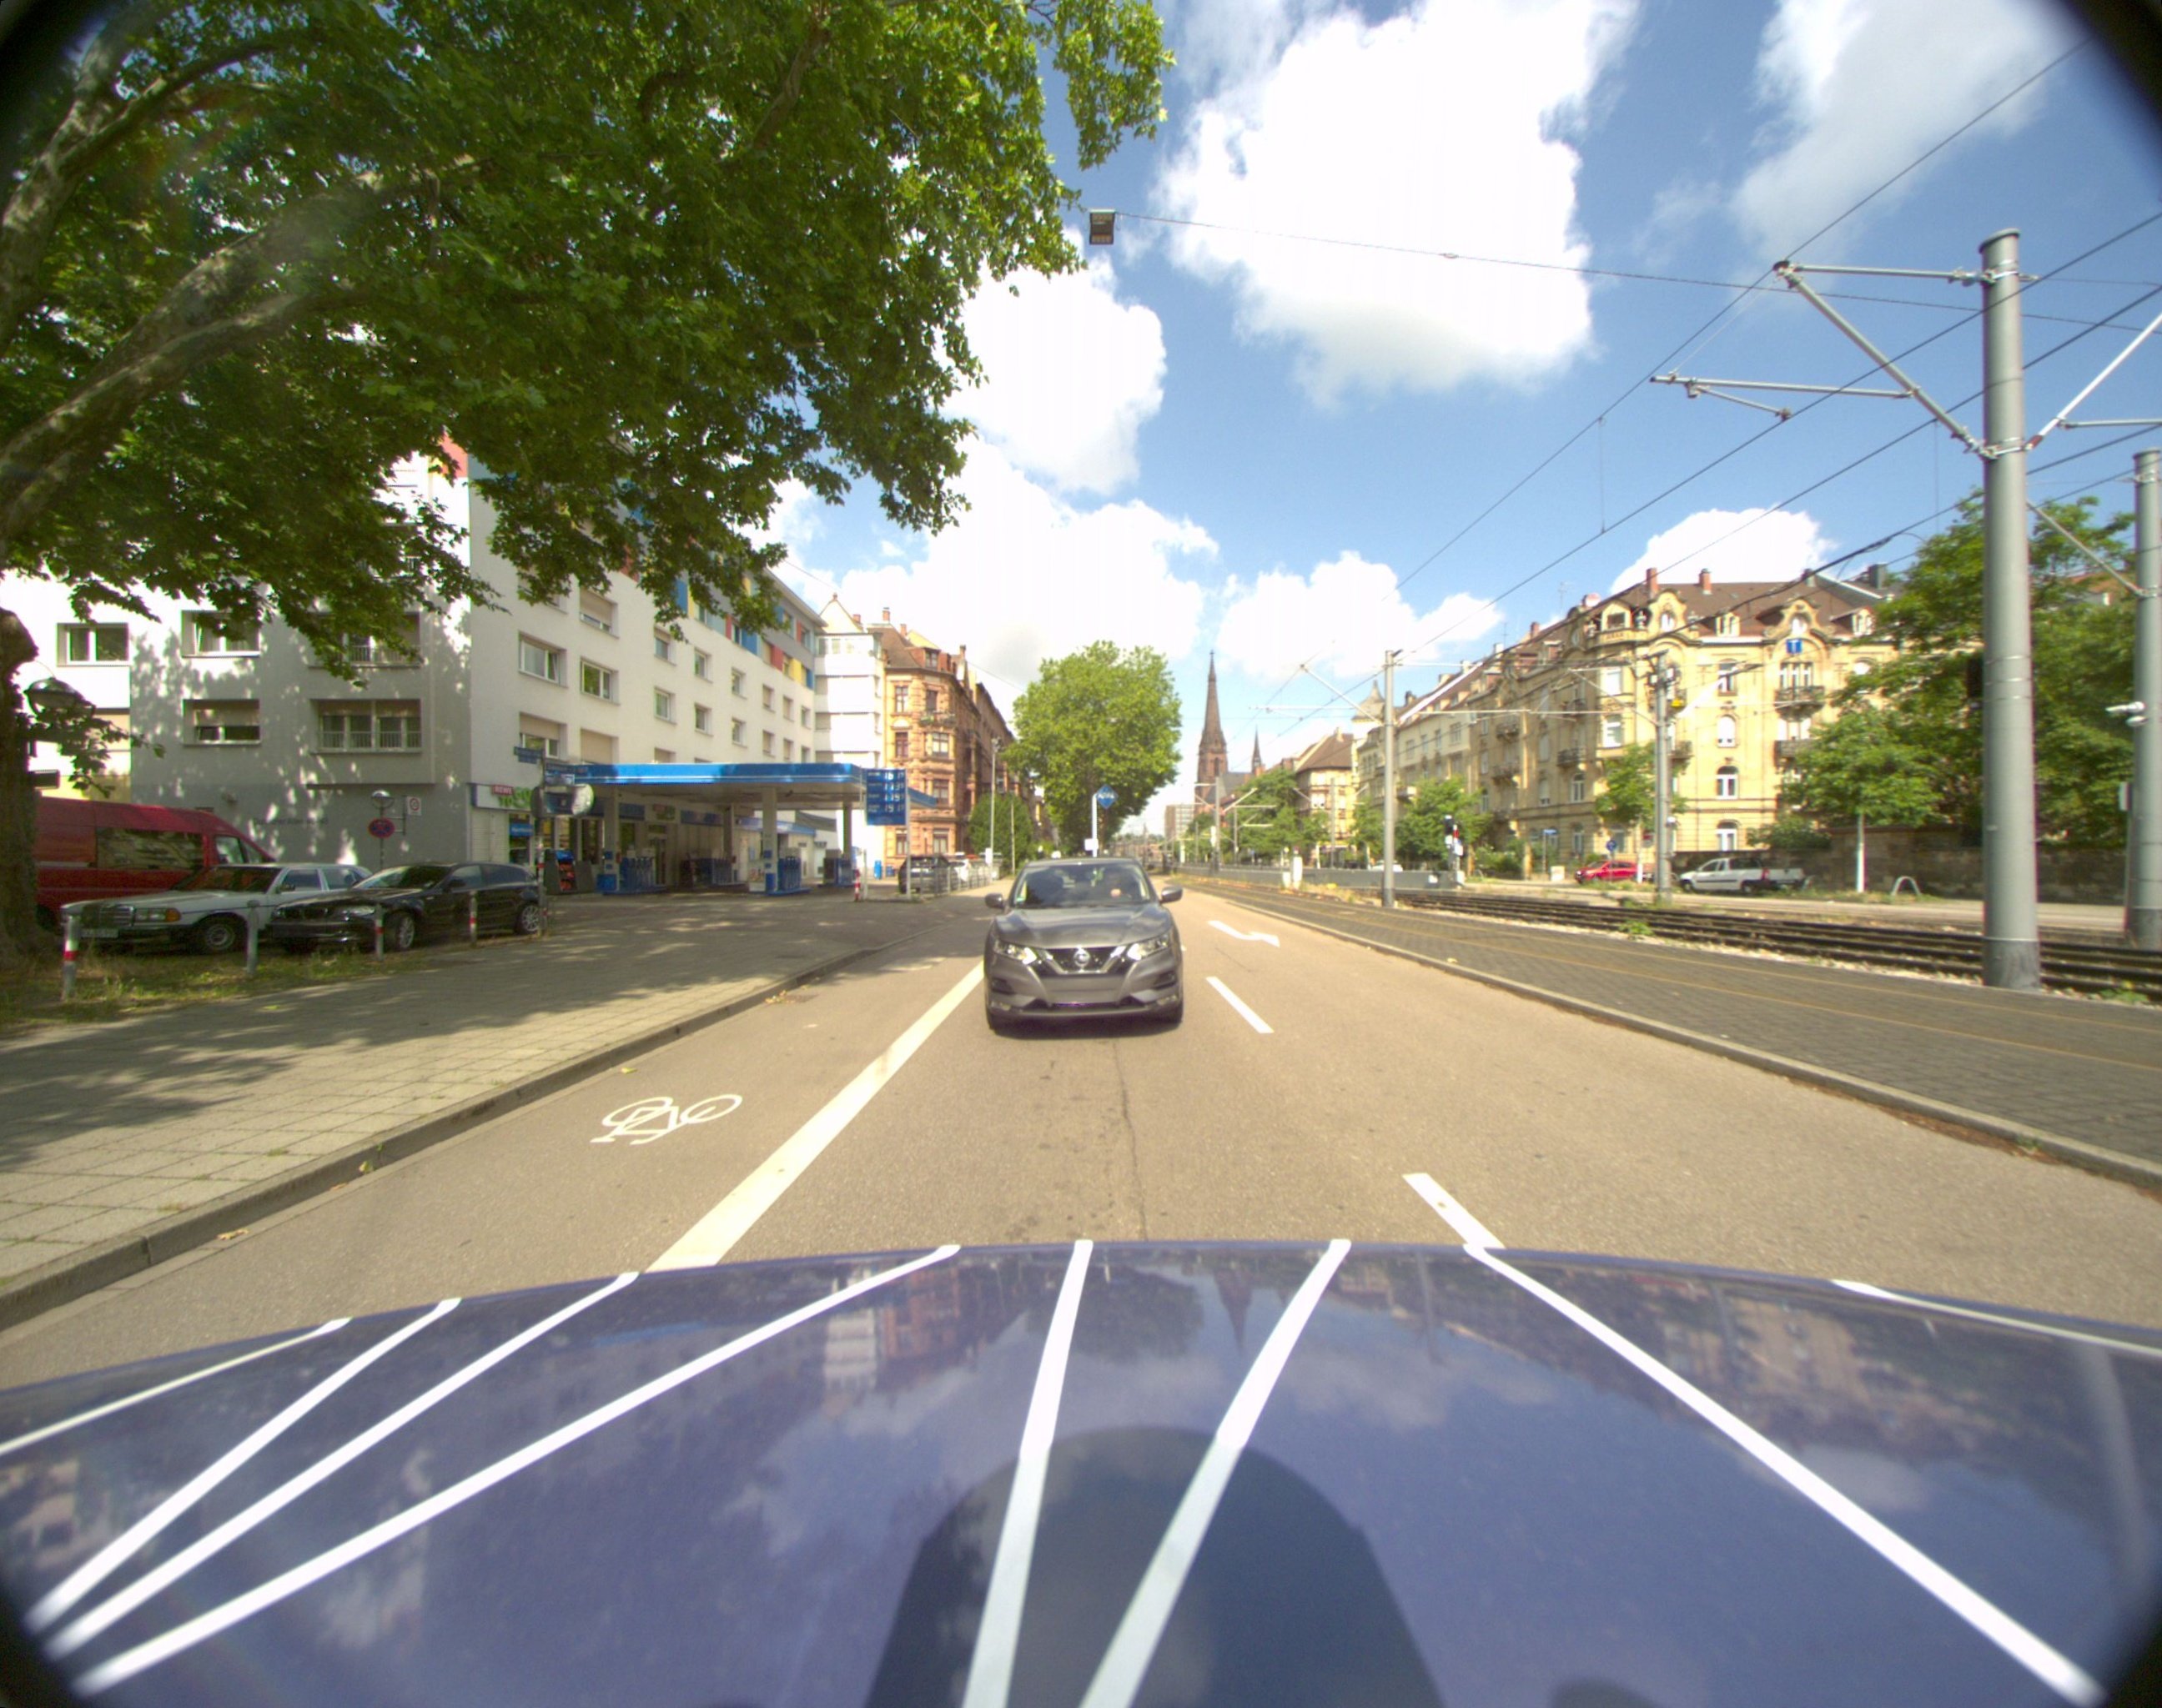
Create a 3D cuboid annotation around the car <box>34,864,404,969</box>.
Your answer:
[{"bbox_3d":[-13.847,0.898,12.650,1.653,1.421,4.042,0,0,-3],"label":"car"}]

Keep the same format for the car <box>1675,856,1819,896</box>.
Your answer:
[{"bbox_3d":[26.893,0.853,30.916,1.936,1.495,4.414,0,0,-1],"label":"car"}]

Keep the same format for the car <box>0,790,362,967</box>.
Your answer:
[{"bbox_3d":[-16.679,0.372,13.388,2.116,2.567,6.020,0,0,2],"label":"car"}]

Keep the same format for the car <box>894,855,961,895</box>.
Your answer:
[{"bbox_3d":[-6.517,0.860,32.735,1.810,1.593,4.583,-1,0,2],"label":"car"}]

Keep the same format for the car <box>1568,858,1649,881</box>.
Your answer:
[{"bbox_3d":[33.797,0.962,48.749,3.788,1.455,1.933,0,0,4],"label":"car"}]

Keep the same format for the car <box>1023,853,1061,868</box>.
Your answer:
[{"bbox_3d":[-5.049,0.775,97.516,4.735,1.772,2.004,-2,0,-7],"label":"car"}]

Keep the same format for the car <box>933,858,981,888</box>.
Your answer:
[{"bbox_3d":[-6.441,0.962,39.822,1.810,1.447,4.001,-1,0,0],"label":"car"}]

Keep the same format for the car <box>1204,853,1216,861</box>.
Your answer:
[{"bbox_3d":[26.738,0.541,157.635,1.998,1.628,4.114,0,0,0],"label":"car"}]

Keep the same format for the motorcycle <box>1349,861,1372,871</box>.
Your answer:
[{"bbox_3d":[27.089,1.182,73.668,1.765,0.936,1.418,1,0,-1],"label":"motorcycle"}]

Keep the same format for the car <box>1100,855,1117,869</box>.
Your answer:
[{"bbox_3d":[2.900,0.839,80.812,1.557,1.476,3.859,2,0,0],"label":"car"}]

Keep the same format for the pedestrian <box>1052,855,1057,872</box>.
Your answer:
[{"bbox_3d":[-2.767,0.963,79.076,0.565,1.775,0.630,0,0,0],"label":"pedestrian"}]

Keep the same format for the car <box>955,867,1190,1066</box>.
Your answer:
[{"bbox_3d":[-0.028,0.904,8.104,1.800,1.454,4.567,0,0,1],"label":"car"}]

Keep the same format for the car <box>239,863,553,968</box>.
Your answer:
[{"bbox_3d":[-11.142,0.902,12.828,1.653,1.461,4.043,0,0,0],"label":"car"}]

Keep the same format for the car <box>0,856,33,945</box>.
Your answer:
[{"bbox_3d":[-22.214,0.935,13.003,2.011,1.744,4.653,-2,0,2],"label":"car"}]

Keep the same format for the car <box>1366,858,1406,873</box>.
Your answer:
[{"bbox_3d":[27.084,0.985,67.610,1.756,1.320,4.312,0,0,-1],"label":"car"}]

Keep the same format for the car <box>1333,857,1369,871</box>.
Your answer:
[{"bbox_3d":[27.110,0.980,76.463,2.025,1.319,4.100,0,0,-2],"label":"car"}]

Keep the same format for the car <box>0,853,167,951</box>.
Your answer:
[{"bbox_3d":[-19.111,0.832,12.666,2.011,1.641,4.653,-2,0,2],"label":"car"}]

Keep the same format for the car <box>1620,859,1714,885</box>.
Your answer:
[{"bbox_3d":[33.106,1.011,43.028,3.972,1.455,1.724,0,0,1],"label":"car"}]
